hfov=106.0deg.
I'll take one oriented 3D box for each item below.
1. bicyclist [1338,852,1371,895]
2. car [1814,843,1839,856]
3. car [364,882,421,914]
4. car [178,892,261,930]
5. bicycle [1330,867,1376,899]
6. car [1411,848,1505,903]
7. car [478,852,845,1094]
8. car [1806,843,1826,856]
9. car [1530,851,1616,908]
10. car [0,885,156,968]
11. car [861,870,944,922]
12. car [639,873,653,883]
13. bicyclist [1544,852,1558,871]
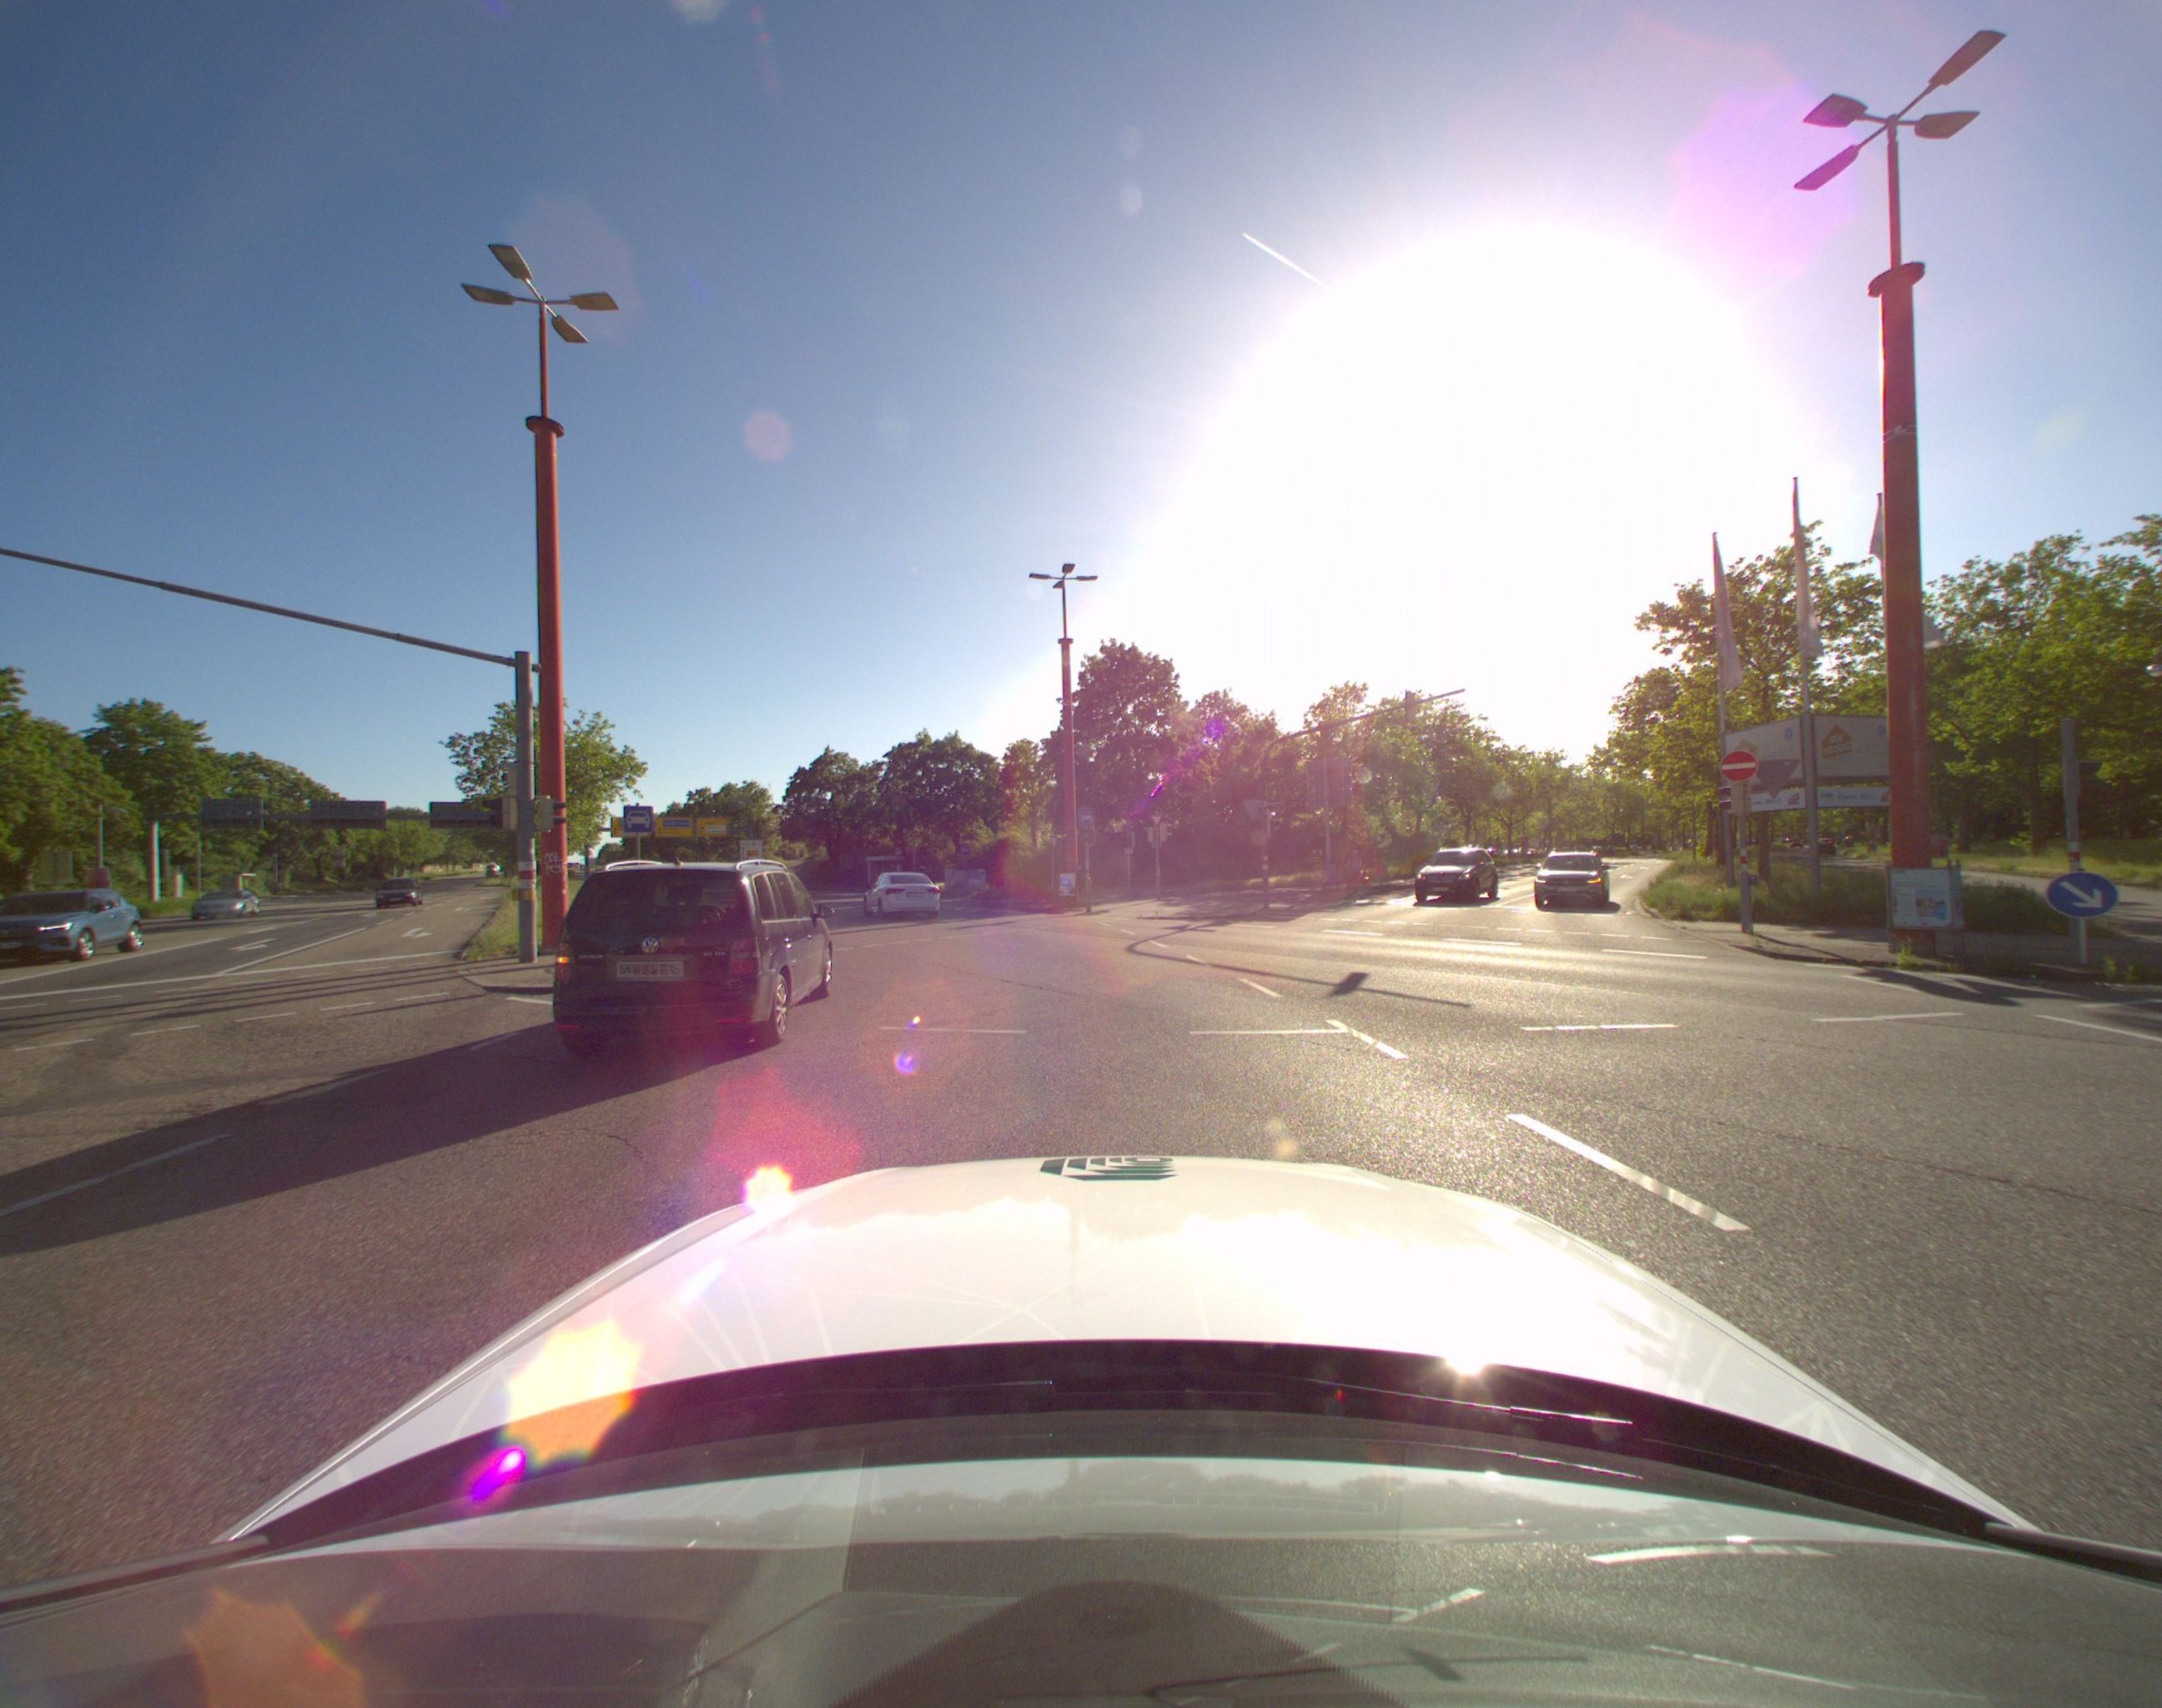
[{"bbox_3d":[10.077,0.707,30.028,0.752,1.557,0.987,-2,-1,45],"label":"bicyclist"},{"bbox_3d":[79.785,-0.487,87.160,1.772,1.388,4.075,0,0,40],"label":"car"},{"bbox_3d":[-37.676,2.364,44.661,1.913,1.565,4.516,-3,0,-35],"label":"car"},{"bbox_3d":[-44.098,2.877,41.808,1.912,1.610,4.517,-3,0,-34],"label":"car"},{"bbox_3d":[10.027,1.052,29.970,0.757,1.091,2.027,-2,0,45],"label":"bicycle"},{"bbox_3d":[13.004,0.672,27.925,1.884,1.726,4.683,-1,-1,38],"label":"car"},{"bbox_3d":[-3.657,0.842,8.217,1.767,1.644,4.908,-1,0,-9],"label":"car"},{"bbox_3d":[101.401,-0.602,112.367,1.854,1.627,4.025,0,-1,40],"label":"car"},{"bbox_3d":[14.689,0.704,24.207,1.750,1.538,4.117,-1,-1,37],"label":"car"},{"bbox_3d":[-23.732,1.606,18.881,1.913,1.610,4.516,-3,0,-35],"label":"car"},{"bbox_3d":[-5.864,1.277,26.326,1.776,1.464,4.331,-1,0,-24],"label":"car"},{"bbox_3d":[-71.168,3.876,133.233,1.780,1.464,4.321,-1,0,-33],"label":"car"},{"bbox_3d":[37.213,0.582,64.501,0.728,1.436,0.972,-2,-1,42],"label":"bicyclist"}]
